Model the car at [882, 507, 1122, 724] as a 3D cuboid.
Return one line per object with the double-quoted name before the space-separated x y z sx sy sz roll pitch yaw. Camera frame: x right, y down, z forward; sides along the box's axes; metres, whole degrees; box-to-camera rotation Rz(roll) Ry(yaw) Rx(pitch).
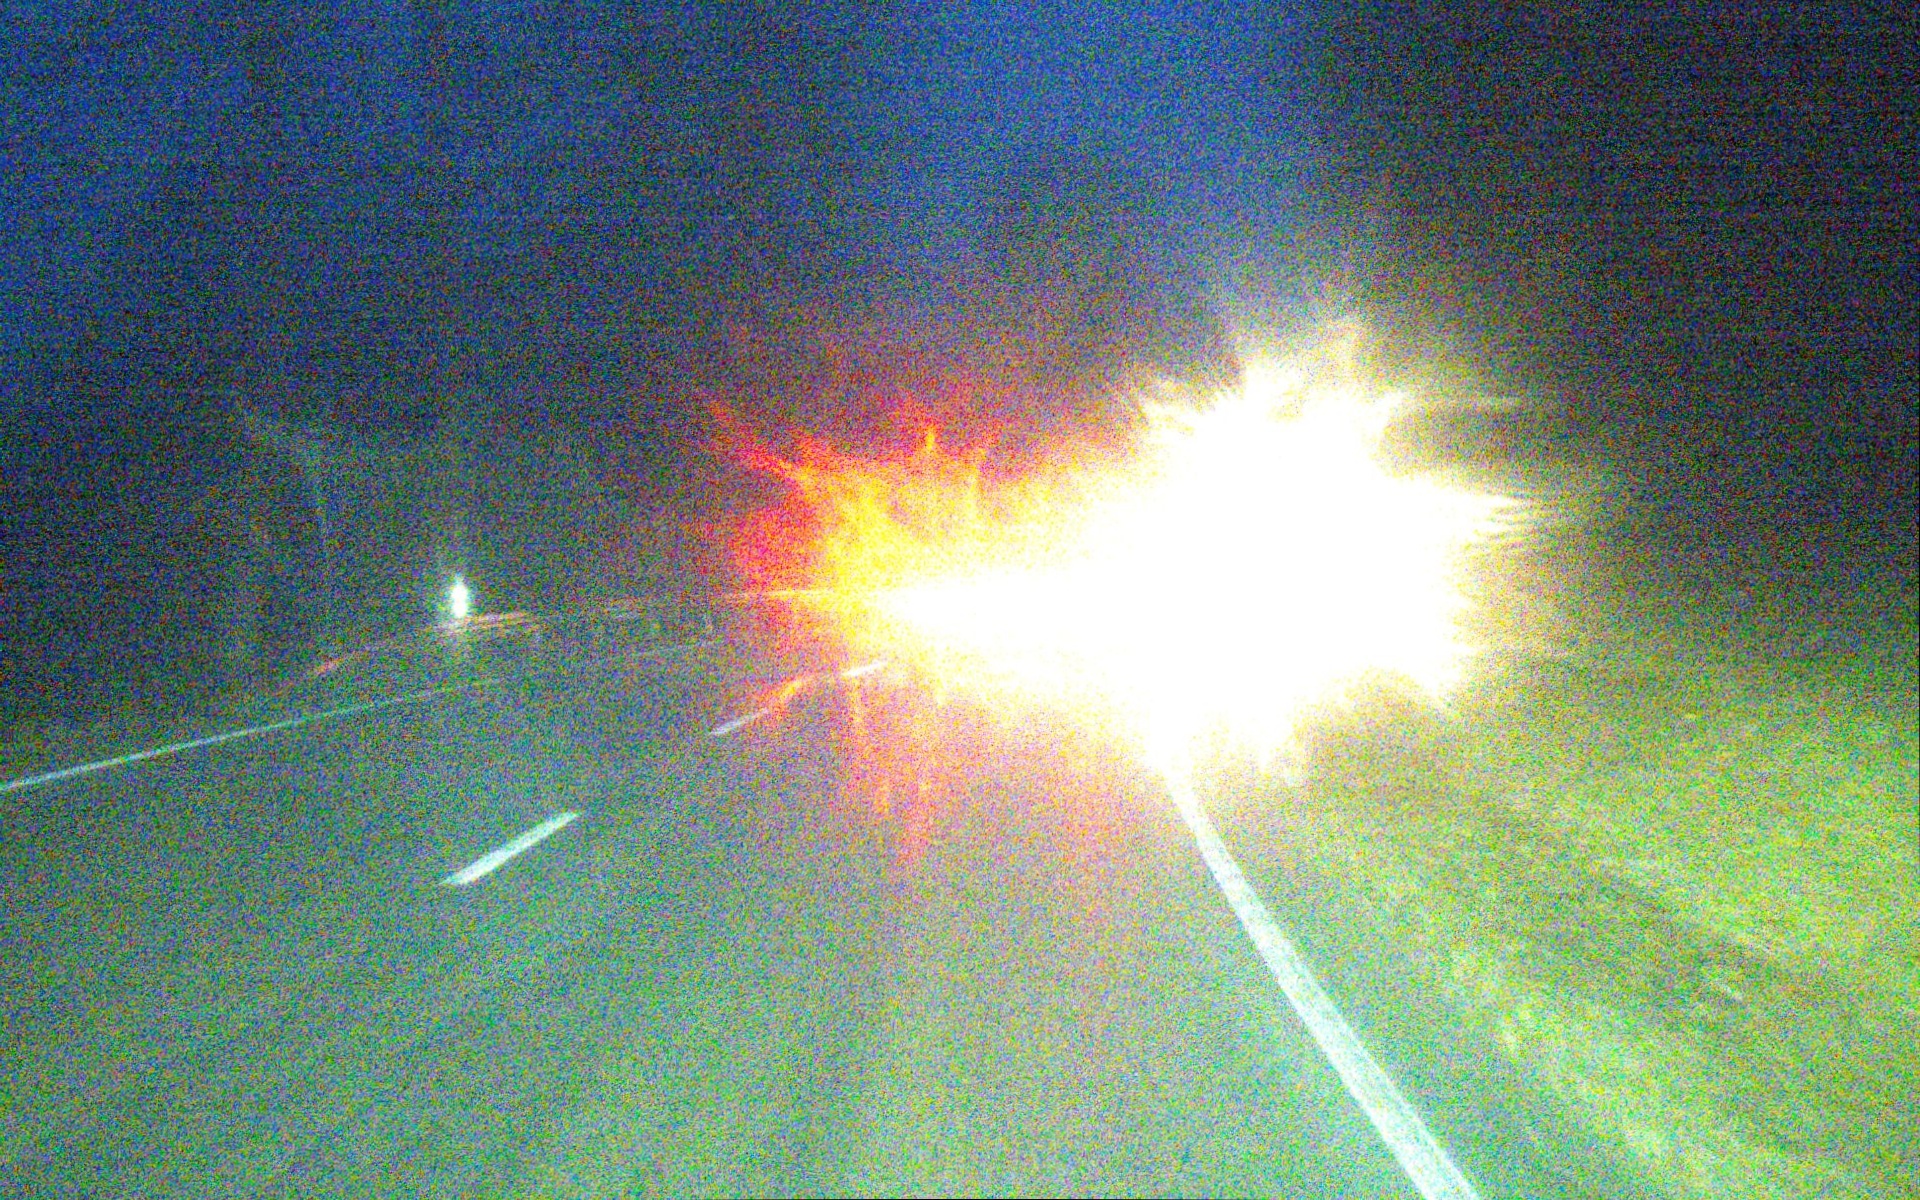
"car" 0.326 0.084 32.086 1.993 1.800 3.918 -3 2 -1
